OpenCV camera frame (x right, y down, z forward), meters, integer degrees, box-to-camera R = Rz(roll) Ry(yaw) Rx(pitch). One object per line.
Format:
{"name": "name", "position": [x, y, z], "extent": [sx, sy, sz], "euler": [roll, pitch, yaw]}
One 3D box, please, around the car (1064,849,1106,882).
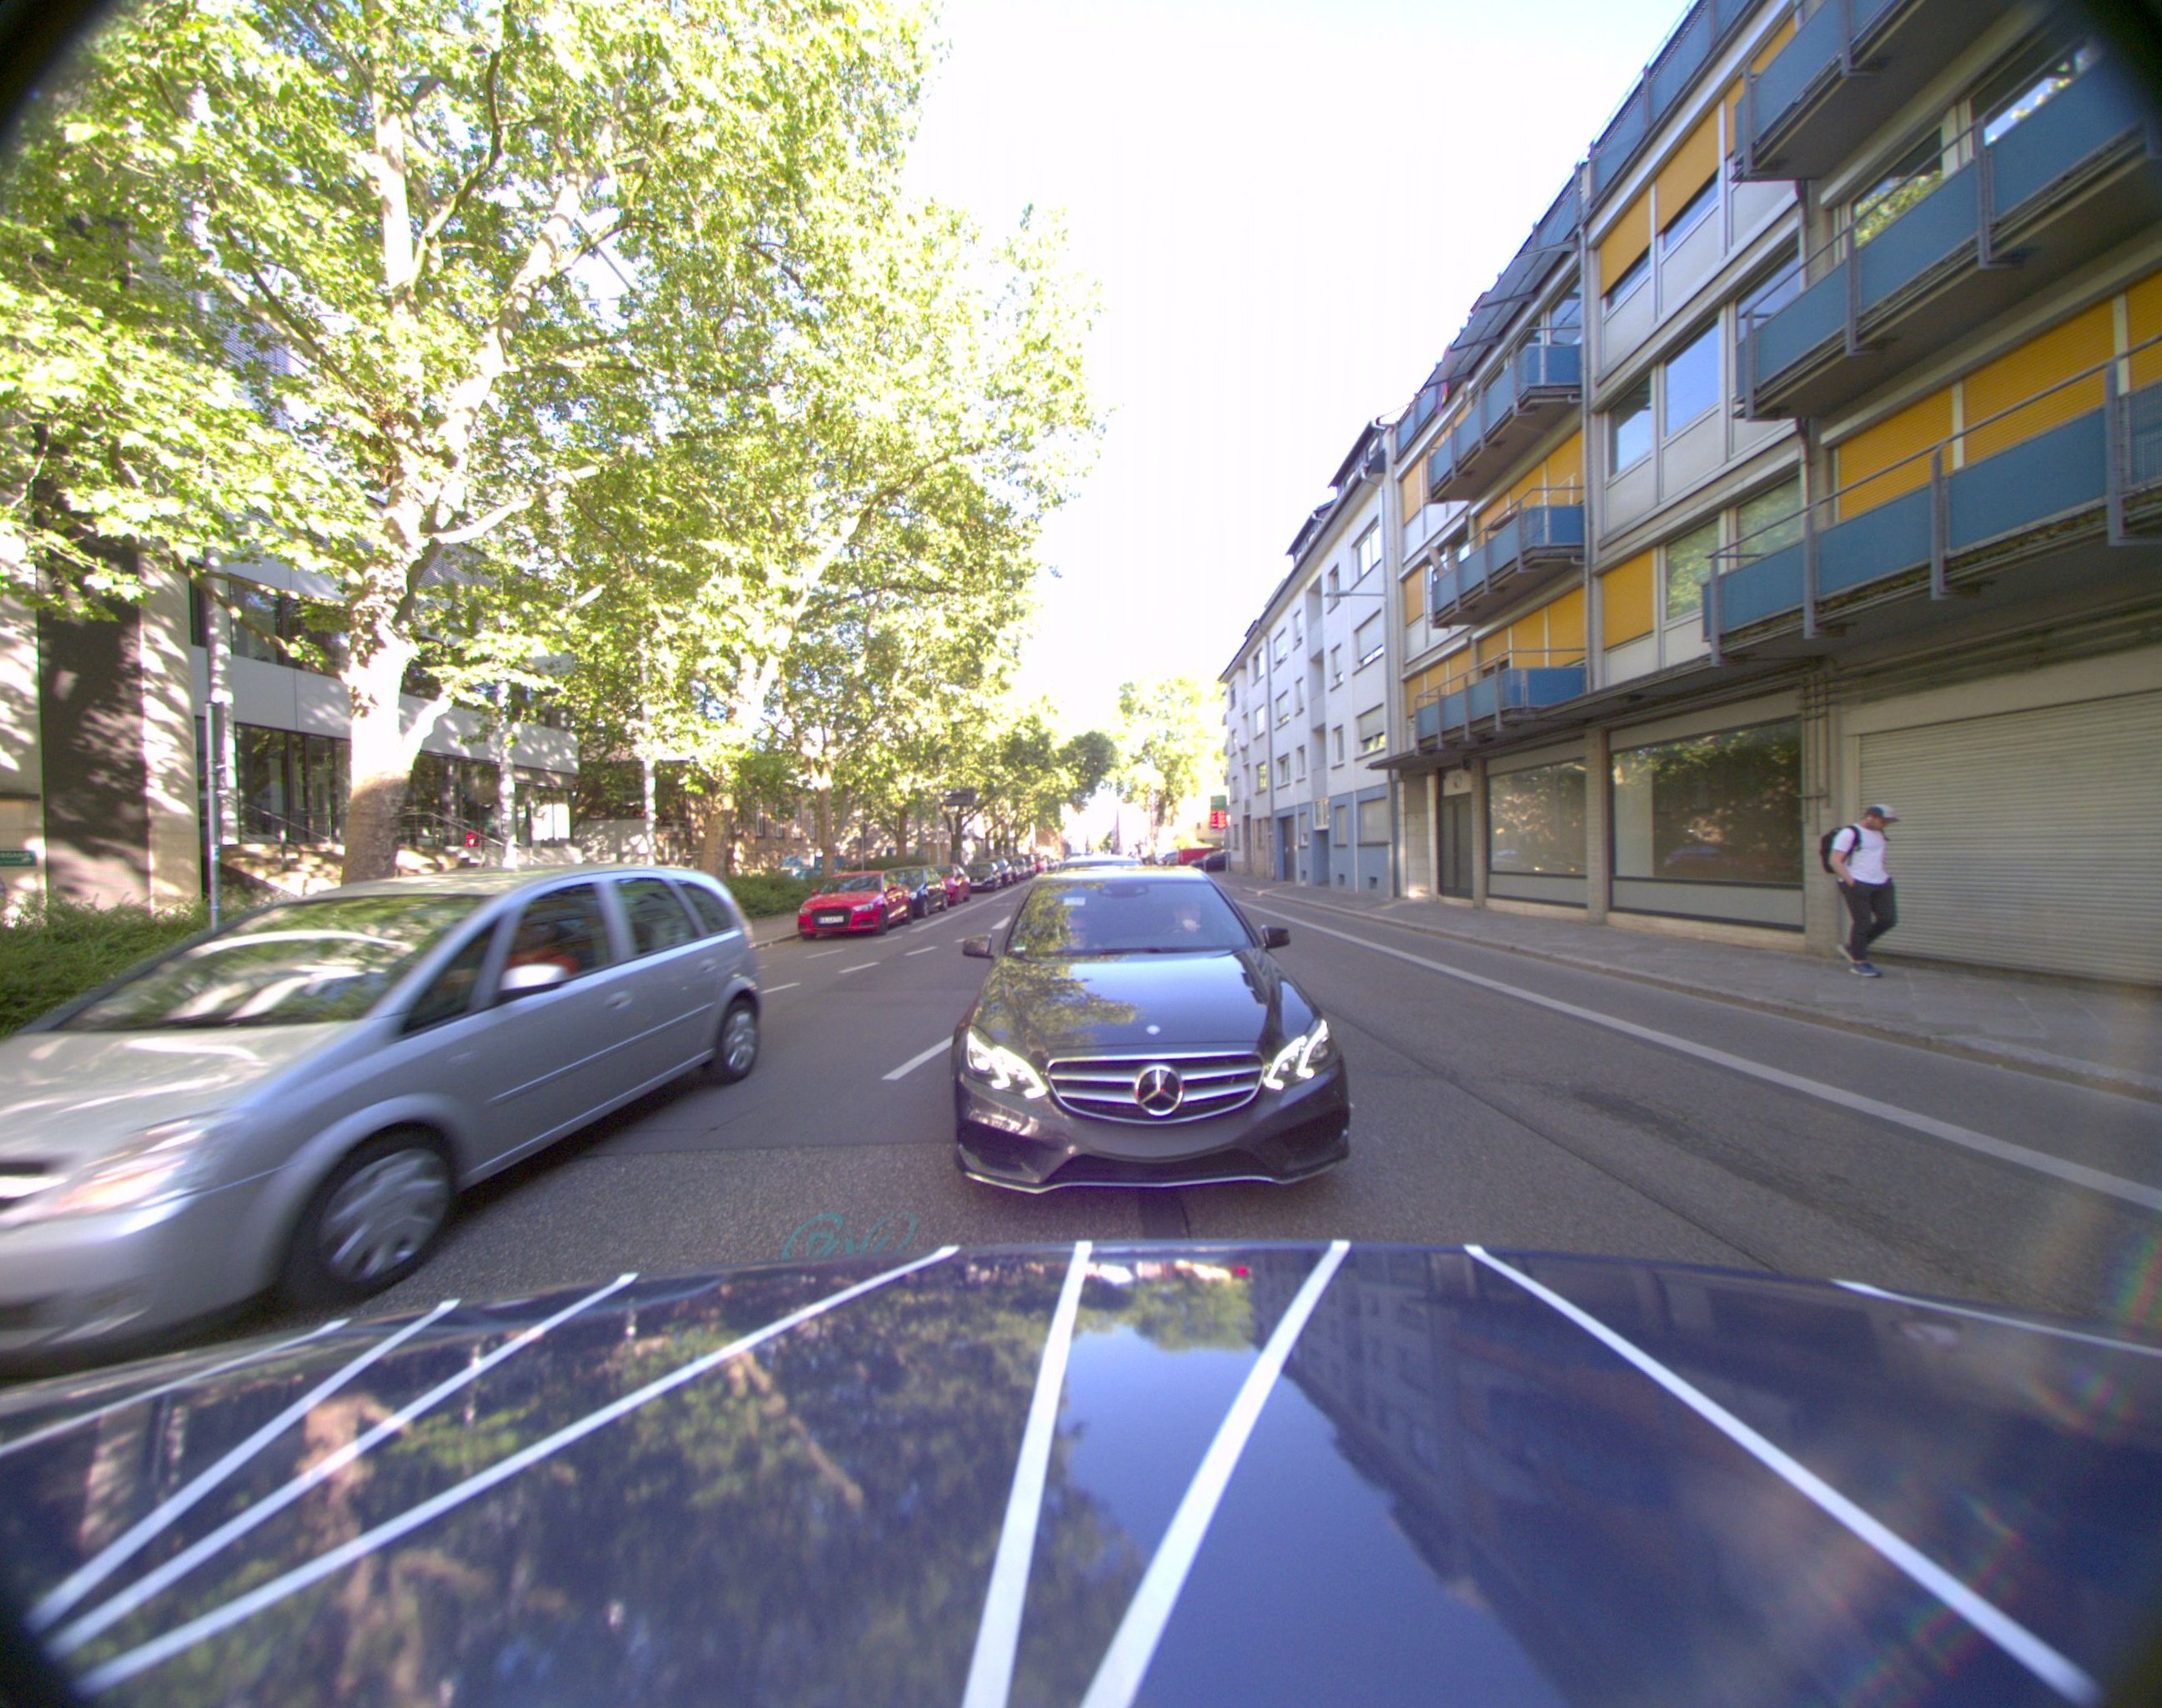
{"name": "car", "position": [0.288, 0.639, 45.358], "extent": [1.784, 1.760, 4.387], "euler": [-4, 0, 9]}

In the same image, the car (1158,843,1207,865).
{"name": "car", "position": [11.034, 0.001, 82.822], "extent": [4.990, 2.181, 2.000], "euler": [-2, 1, 1]}

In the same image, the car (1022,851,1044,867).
{"name": "car", "position": [-4.387, 0.446, 70.445], "extent": [1.741, 1.469, 4.091], "euler": [-2, 0, 0]}

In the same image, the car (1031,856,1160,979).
{"name": "car", "position": [0.223, 0.858, 12.522], "extent": [1.646, 1.520, 4.619], "euler": [-4, 0, 1]}

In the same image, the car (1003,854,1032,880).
{"name": "car", "position": [-4.497, 0.897, 54.554], "extent": [1.741, 1.785, 3.895], "euler": [-2, 0, 0]}

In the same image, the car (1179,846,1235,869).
{"name": "car", "position": [10.135, 0.277, 61.292], "extent": [4.146, 1.681, 2.000], "euler": [-2, 0, 1]}

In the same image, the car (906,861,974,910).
{"name": "car", "position": [-5.033, 1.087, 27.652], "extent": [1.681, 1.484, 3.918], "euler": [-4, 0, 0]}

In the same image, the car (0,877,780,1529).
{"name": "car", "position": [-3.327, 1.011, 3.985], "extent": [1.705, 1.593, 3.860], "euler": [-2, 0, 4]}

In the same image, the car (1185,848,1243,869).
{"name": "car", "position": [10.312, 0.331, 58.961], "extent": [4.146, 1.486, 2.000], "euler": [-2, 0, 1]}

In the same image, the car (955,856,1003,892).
{"name": "car", "position": [-4.957, 0.925, 37.388], "extent": [1.741, 1.622, 4.091], "euler": [-2, 0, 0]}

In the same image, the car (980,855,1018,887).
{"name": "car", "position": [-4.518, 0.912, 42.344], "extent": [1.634, 1.677, 3.907], "euler": [-2, 0, 0]}

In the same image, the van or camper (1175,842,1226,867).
{"name": "van or camper", "position": [10.056, 0.031, 64.199], "extent": [3.997, 2.002, 2.000], "euler": [-2, 1, 0]}

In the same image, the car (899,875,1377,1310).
{"name": "car", "position": [0.208, 0.944, 4.760], "extent": [1.740, 1.448, 3.864], "euler": [-2, 0, 0]}

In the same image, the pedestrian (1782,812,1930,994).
{"name": "pedestrian", "position": [8.137, 0.488, 8.016], "extent": [0.601, 1.790, 0.879], "euler": [-3, 1, 1]}

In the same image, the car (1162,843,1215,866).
{"name": "car", "position": [10.910, 0.035, 77.339], "extent": [4.990, 2.181, 2.000], "euler": [-2, 1, 1]}

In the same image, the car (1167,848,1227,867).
{"name": "car", "position": [10.158, 0.292, 66.701], "extent": [4.990, 1.486, 2.000], "euler": [-2, 0, 1]}

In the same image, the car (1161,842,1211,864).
{"name": "car", "position": [11.030, -0.092, 80.191], "extent": [4.990, 2.181, 2.000], "euler": [-2, 1, 1]}

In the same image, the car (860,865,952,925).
{"name": "car", "position": [-5.129, 1.145, 22.787], "extent": [1.741, 1.444, 4.091], "euler": [-4, 0, 0]}

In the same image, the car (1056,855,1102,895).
{"name": "car", "position": [-0.031, 0.826, 31.601], "extent": [1.648, 1.473, 3.977], "euler": [-2, 0, 3]}

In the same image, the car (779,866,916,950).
{"name": "car", "position": [-5.237, 1.141, 17.655], "extent": [1.830, 1.519, 4.142], "euler": [-4, 0, 0]}

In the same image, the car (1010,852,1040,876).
{"name": "car", "position": [-4.393, 0.732, 59.847], "extent": [1.992, 1.795, 4.376], "euler": [-2, 0, 0]}
